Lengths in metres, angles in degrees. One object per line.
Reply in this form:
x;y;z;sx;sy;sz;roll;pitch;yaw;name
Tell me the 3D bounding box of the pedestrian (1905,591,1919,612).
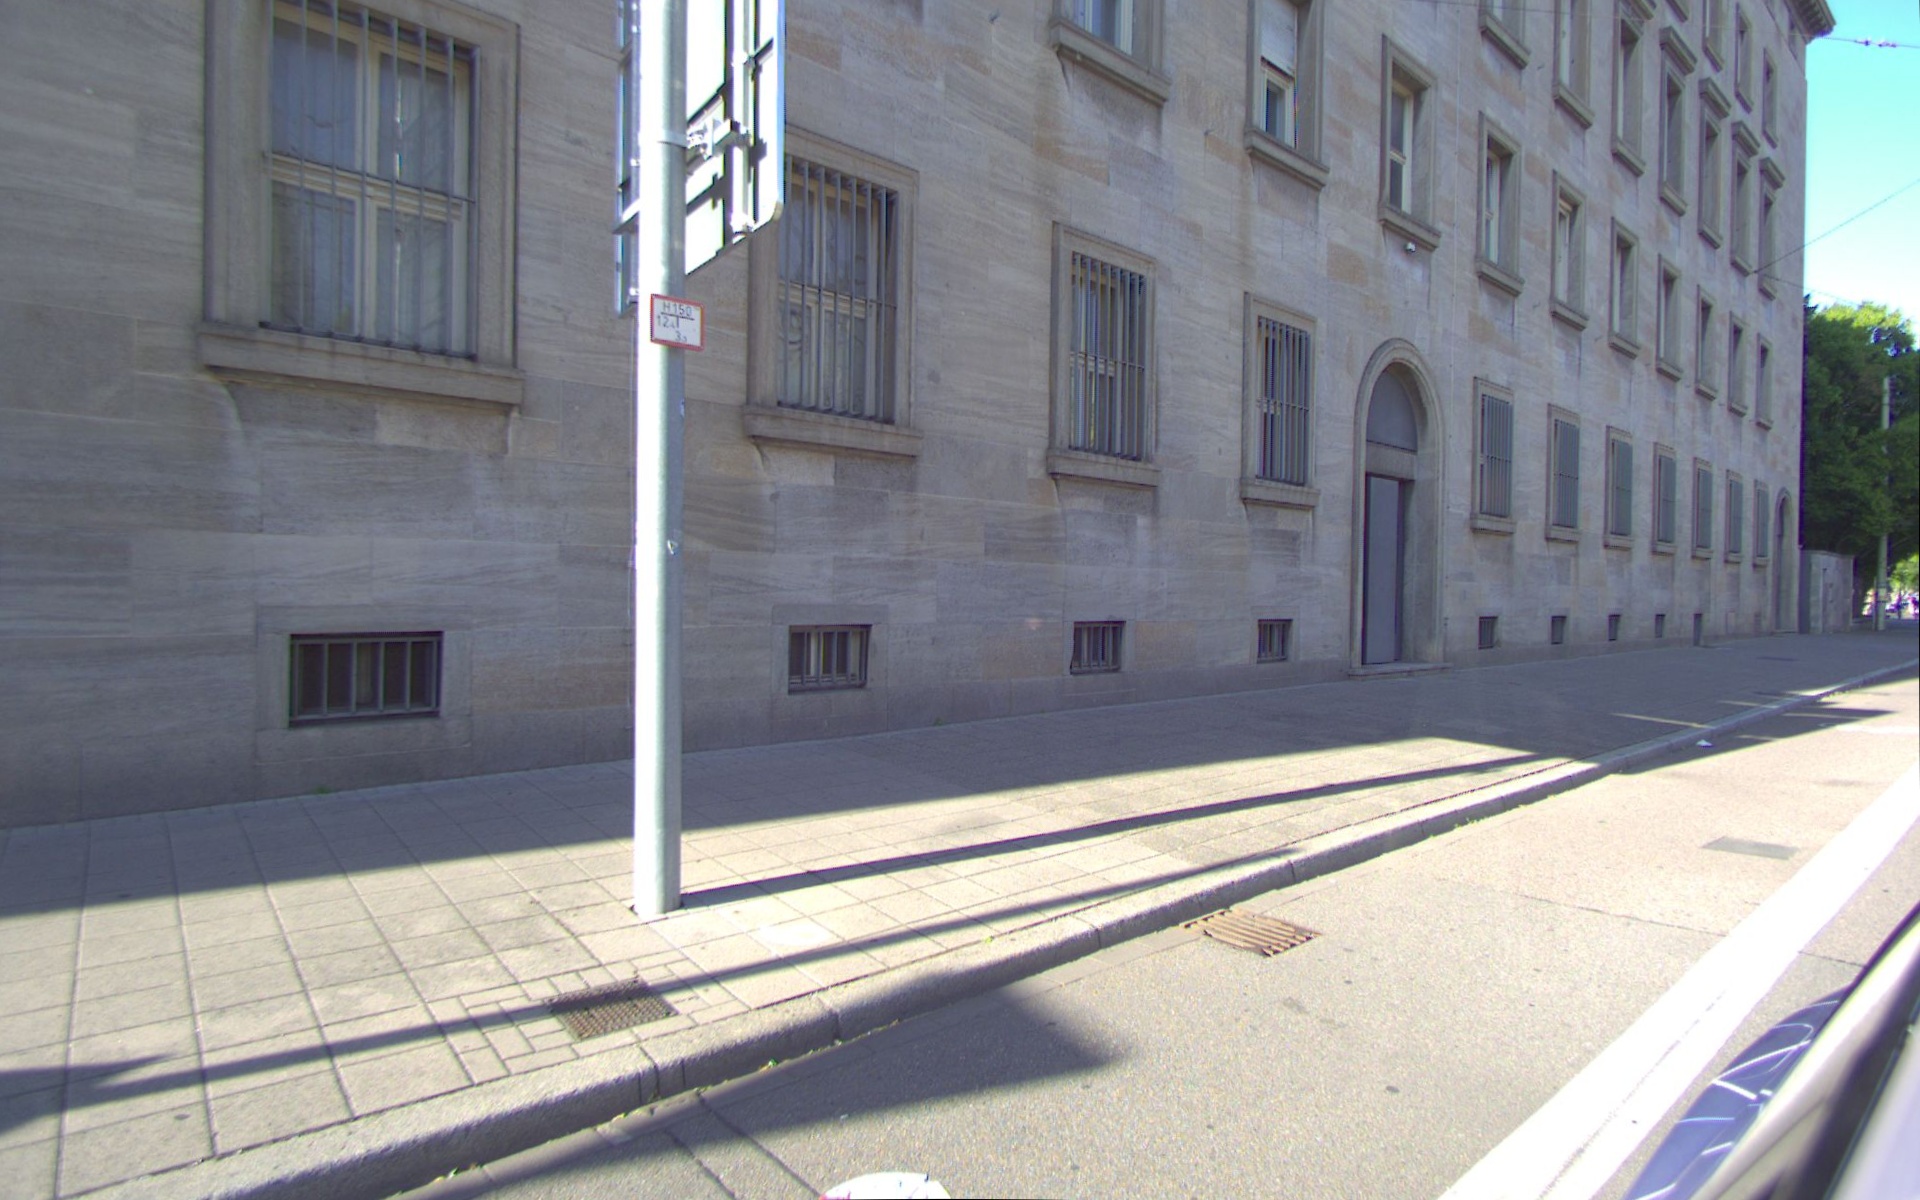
80.135;0.101;85.205;0.828;1.742;0.792;1;1;43;pedestrian
